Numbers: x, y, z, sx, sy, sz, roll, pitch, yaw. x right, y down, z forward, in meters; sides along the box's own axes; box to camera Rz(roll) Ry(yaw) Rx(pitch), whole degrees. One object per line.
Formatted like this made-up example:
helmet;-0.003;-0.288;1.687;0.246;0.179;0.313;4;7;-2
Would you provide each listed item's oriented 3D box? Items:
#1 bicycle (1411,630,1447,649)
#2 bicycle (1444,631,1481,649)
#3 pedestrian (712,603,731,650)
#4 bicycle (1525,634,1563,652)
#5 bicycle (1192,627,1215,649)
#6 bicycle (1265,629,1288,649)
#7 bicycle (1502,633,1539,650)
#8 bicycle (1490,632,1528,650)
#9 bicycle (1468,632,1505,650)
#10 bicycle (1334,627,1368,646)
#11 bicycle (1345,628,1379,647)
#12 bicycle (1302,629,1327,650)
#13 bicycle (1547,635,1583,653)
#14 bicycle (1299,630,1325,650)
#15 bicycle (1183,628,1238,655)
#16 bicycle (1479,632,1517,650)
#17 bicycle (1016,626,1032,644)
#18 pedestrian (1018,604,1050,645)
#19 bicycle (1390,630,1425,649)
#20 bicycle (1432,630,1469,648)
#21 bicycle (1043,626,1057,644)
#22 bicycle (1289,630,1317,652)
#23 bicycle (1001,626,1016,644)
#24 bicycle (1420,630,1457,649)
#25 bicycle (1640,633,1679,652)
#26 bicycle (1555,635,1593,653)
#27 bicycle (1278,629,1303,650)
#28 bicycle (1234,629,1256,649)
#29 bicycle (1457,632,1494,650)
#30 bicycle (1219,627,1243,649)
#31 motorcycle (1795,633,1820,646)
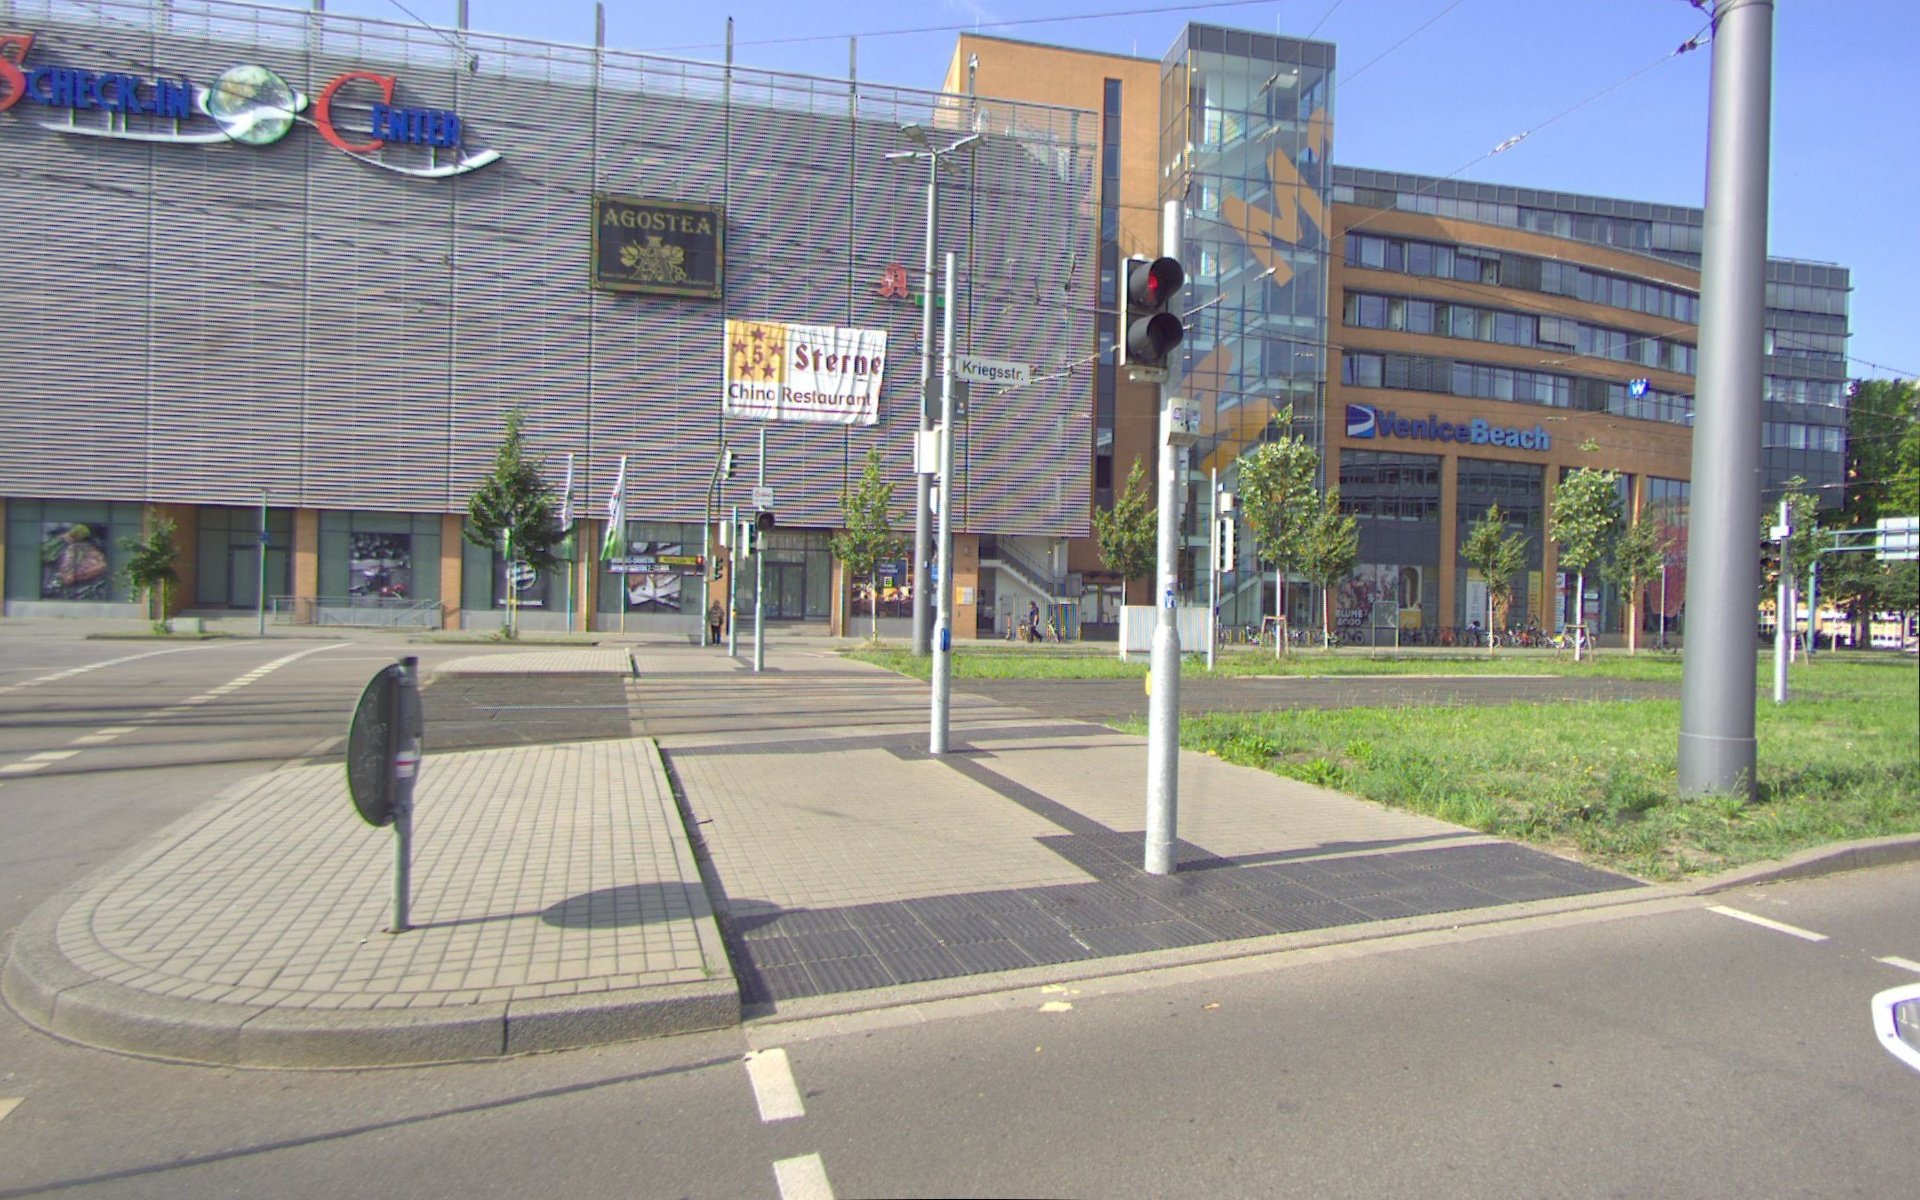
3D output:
bicycle;25.567;2.157;54.780;0.564;0.934;2.047;1;0;-16
bicycle;27.774;2.194;55.573;0.564;0.934;2.047;1;0;-16
pedestrian;-8.241;0.900;34.688;0.580;1.600;0.761;1;0;-16
bicycle;33.369;2.428;57.435;0.564;0.934;2.047;1;0;-16
bicycle;11.197;1.721;46.209;0.404;0.953;1.580;1;0;-12
bicycle;15.165;1.853;48.206;0.252;0.841;1.463;3;1;-15
bicycle;31.859;2.349;57.108;0.564;0.934;2.047;1;0;-16
bicycle;31.031;2.328;56.788;0.564;0.934;2.047;1;0;-16
bicycle;29.417;2.272;56.181;0.564;0.934;2.047;1;0;-16
bicycle;20.714;1.949;53.268;0.564;0.934;2.047;1;0;-16
bicycle;21.396;1.987;53.513;0.564;0.934;2.047;1;0;-16
bicycle;17.558;1.953;49.792;0.404;0.953;1.580;1;0;-12
bicycle;34.964;2.520;58.087;0.374;0.934;2.047;1;0;-16
bicycle;17.114;1.937;48.860;0.404;0.953;1.580;1;0;-11
bicycle;10.402;1.730;41.740;2.122;1.001;0.445;3;-1;-3
bicycle;30.218;2.304;56.454;0.564;0.934;2.047;1;0;-16
bicycle;2.807;1.548;44.095;0.444;0.762;1.004;1;0;-10
pedestrian;3.196;1.053;43.251;1.156;1.742;0.818;1;0;-12
bicycle;24.178;2.136;54.292;0.564;0.934;2.047;1;0;-16
bicycle;26.987;2.150;55.316;0.564;0.934;2.047;1;0;-16
bicycle;3.956;1.559;44.317;0.354;0.762;1.022;1;0;-10
bicycle;15.669;1.880;45.935;0.404;0.953;1.580;1;0;-13
bicycle;2.125;1.522;43.936;0.444;0.762;1.004;1;0;-10
bicycle;26.188;2.148;54.998;0.564;0.934;2.047;1;0;-16
bicycle;37.215;2.269;53.454;0.697;0.919;1.677;2;-1;-12
bicycle;35.641;2.558;58.345;0.564;0.934;2.047;1;0;-16
bicycle;16.133;1.920;49.011;0.404;0.953;1.580;1;0;-12
bicycle;13.542;1.832;47.696;0.252;0.898;1.463;3;-1;-15
bicycle;28.633;2.253;55.849;0.564;0.934;2.047;1;0;-16
bicycle;12.698;1.763;47.041;0.404;0.953;1.580;1;0;-12
motorcycle;75.940;3.533;89.991;0.281;1.009;1.678;-1;1;-35
